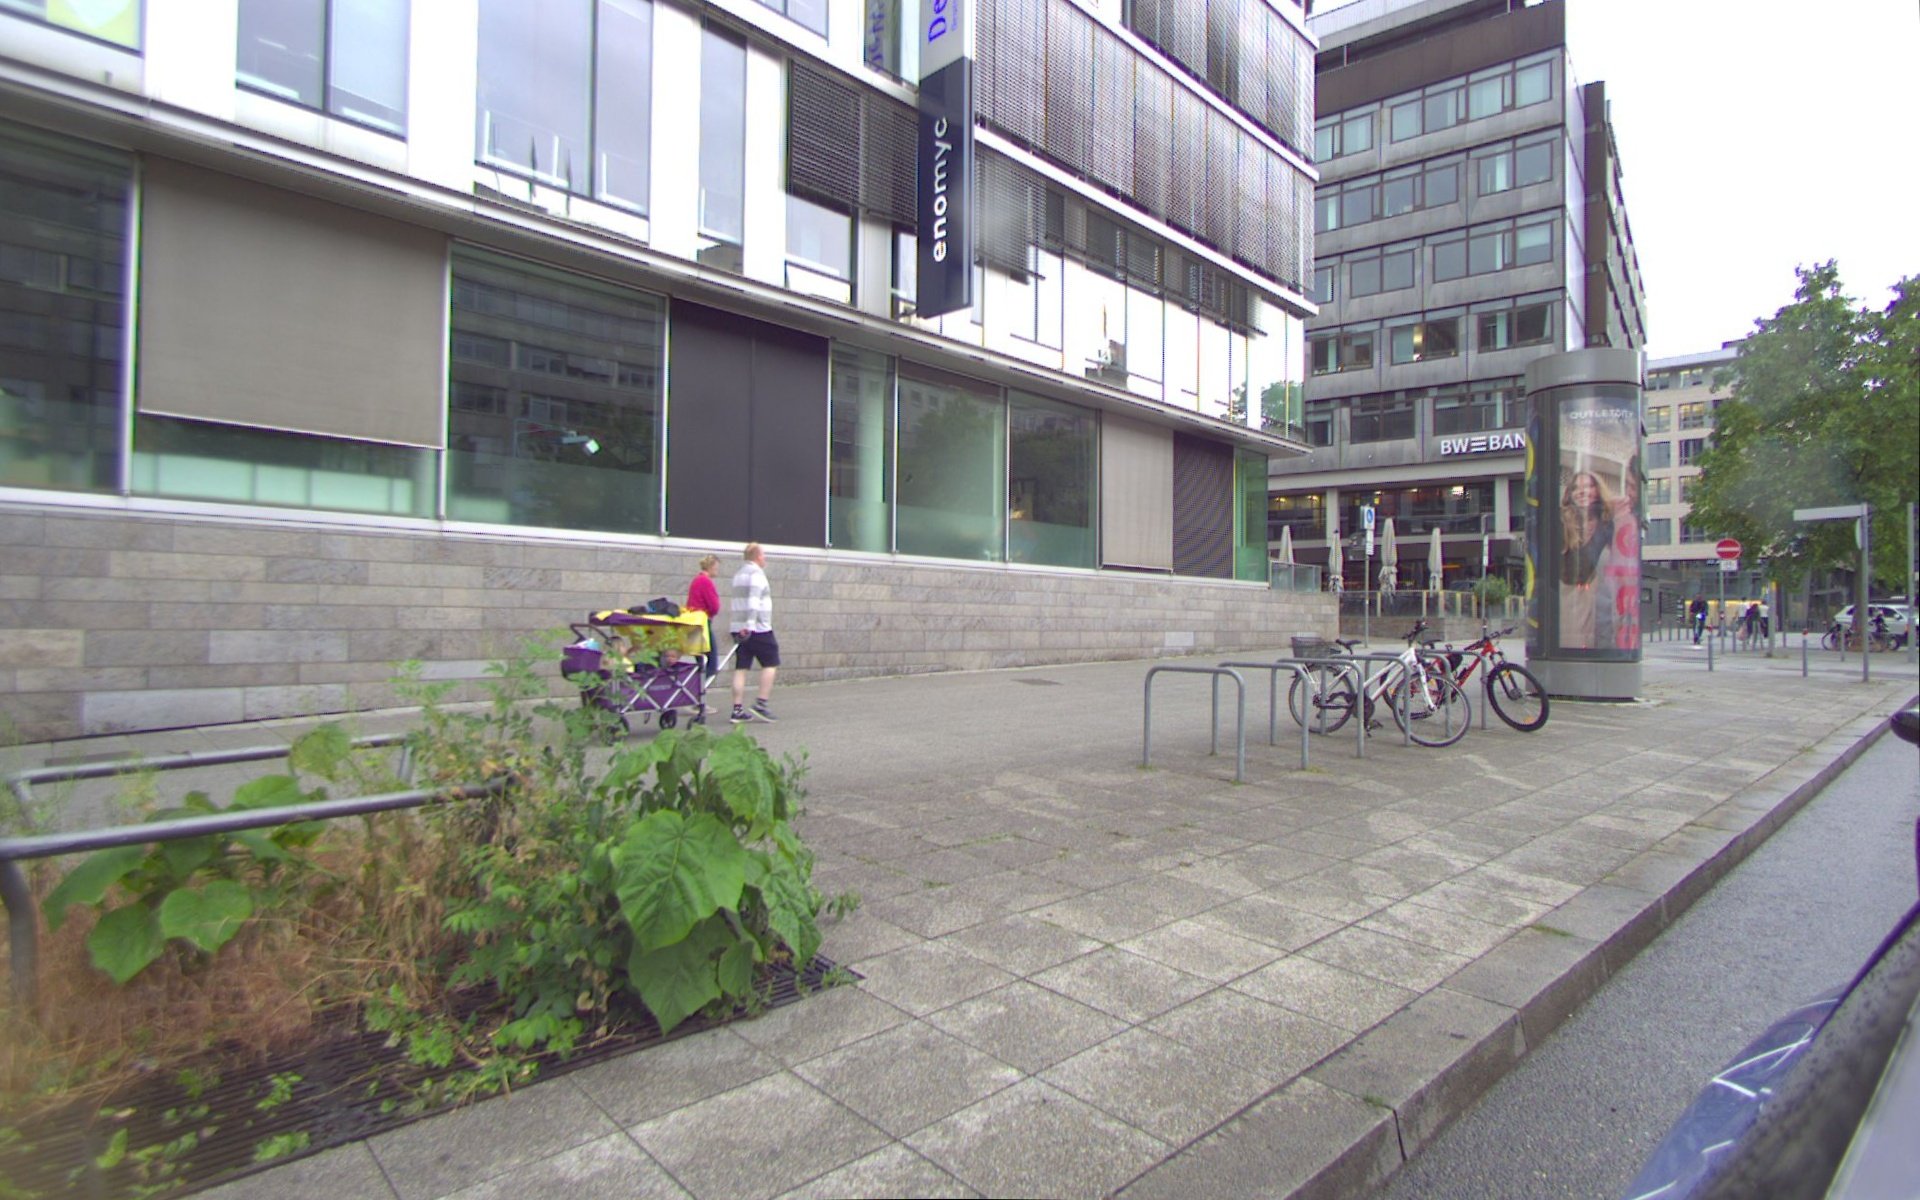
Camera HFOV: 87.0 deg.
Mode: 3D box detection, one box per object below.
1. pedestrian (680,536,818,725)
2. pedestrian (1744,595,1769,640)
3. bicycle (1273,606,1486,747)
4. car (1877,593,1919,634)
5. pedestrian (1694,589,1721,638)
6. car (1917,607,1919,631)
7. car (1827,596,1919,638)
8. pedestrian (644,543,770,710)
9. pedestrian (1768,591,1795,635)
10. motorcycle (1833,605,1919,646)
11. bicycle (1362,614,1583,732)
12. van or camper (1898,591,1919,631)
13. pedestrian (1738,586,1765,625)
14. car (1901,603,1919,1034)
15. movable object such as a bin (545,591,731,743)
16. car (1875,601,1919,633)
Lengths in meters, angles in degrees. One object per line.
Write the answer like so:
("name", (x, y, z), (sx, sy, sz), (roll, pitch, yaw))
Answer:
("pedestrian", (-2.155, 0.277, 10.363), (0.900, 1.814, 1.030), (2, 1, 44))
("pedestrian", (31.139, 0.684, 39.569), (0.719, 1.707, 0.521), (-2, -2, 43))
("bicycle", (4.040, 0.683, 9.884), (0.648, 1.212, 1.841), (1, 0, -37))
("car", (48.784, 0.661, 50.222), (1.882, 2.018, 4.525), (0, -1, -12))
("pedestrian", (29.068, 0.529, 39.358), (0.719, 1.908, 0.646), (-2, -2, 43))
("car", (58.718, 1.077, 58.922), (1.673, 1.442, 4.068), (0, -1, -12))
("car", (38.716, 0.684, 41.361), (1.876, 1.671, 4.812), (0, -1, -11))
("pedestrian", (-2.739, 0.259, 10.991), (0.718, 1.711, 1.082), (2, 1, 44))
("pedestrian", (38.959, 0.620, 48.005), (0.740, 2.065, 0.851), (1, -2, -40))
("motorcycle", (31.740, 0.865, 35.085), (0.664, 1.375, 2.090), (1, -2, -34))
("bicycle", (5.499, 0.732, 10.976), (0.793, 1.118, 1.989), (1, 0, -37))
("van or camper", (61.330, 0.635, 61.421), (2.267, 2.479, 6.275), (0, -1, -11))
("pedestrian", (38.173, 0.278, 48.784), (0.882, 1.893, 0.802), (1, -2, -39))
("car", (5.105, 0.729, 4.081), (3.769, 1.435, 1.631), (0, -1, -43))
("movable object such as a bin", (-2.921, 0.577, 9.244), (1.420, 1.280, 0.732), (2, -2, -44))
("car", (46.774, 0.806, 48.211), (1.876, 1.557, 4.399), (0, -1, -14))
